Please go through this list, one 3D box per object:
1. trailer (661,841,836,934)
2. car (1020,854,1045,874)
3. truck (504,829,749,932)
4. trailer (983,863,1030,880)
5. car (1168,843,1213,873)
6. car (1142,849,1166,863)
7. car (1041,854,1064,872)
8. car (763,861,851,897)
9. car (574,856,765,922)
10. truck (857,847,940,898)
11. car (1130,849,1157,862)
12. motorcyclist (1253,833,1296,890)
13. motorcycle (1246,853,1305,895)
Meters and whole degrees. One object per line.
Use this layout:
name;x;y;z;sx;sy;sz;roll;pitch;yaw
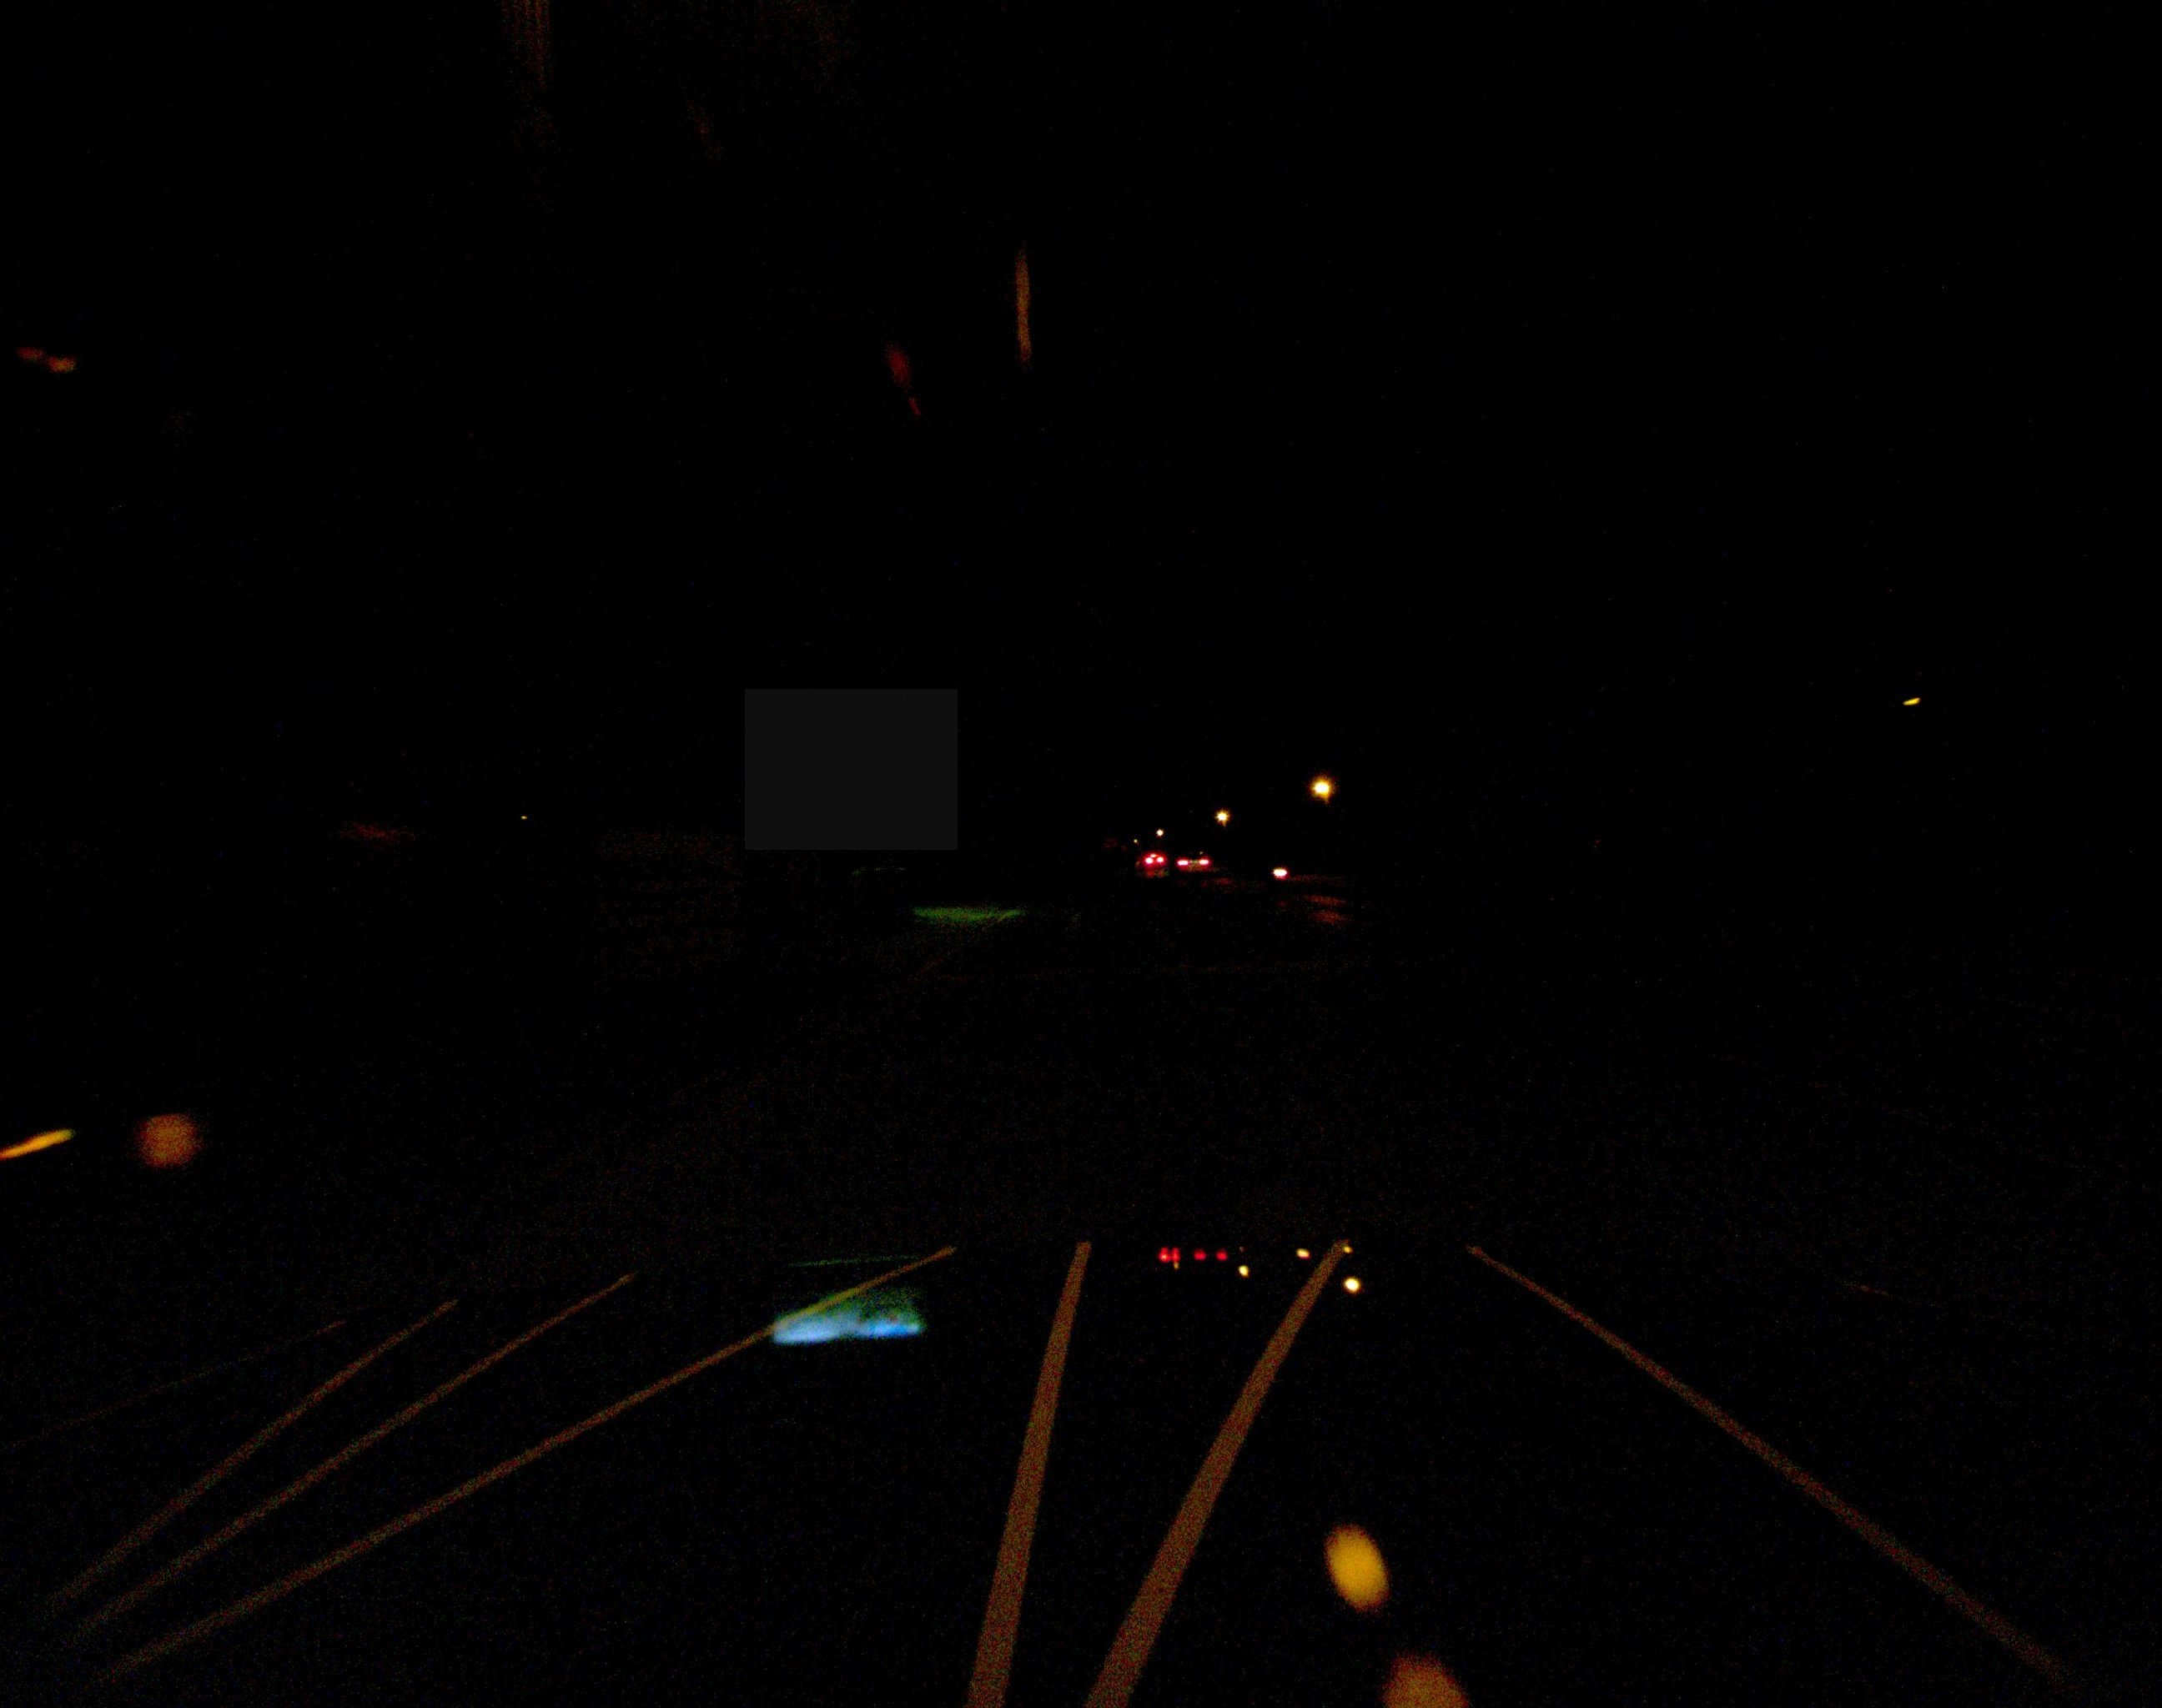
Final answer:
trailer;-7.788;0.769;17.789;3.750;2.002;1.617;-2;0;25
car;-4.217;0.837;65.638;1.940;1.543;3.998;-3;0;-4
truck;-13.153;0.731;22.325;5.544;2.584;2.472;-3;1;0
trailer;-5.465;1.242;57.152;2.179;0.961;9.617;-4;0;2
car;6.598;0.230;46.316;1.998;1.617;4.752;-3;0;0
car;7.924;0.223;82.741;1.854;1.436;4.915;-3;0;-3
car;-2.774;0.878;72.925;1.999;1.543;4.325;-3;0;-4
car;-14.250;1.291;39.688;3.866;1.595;1.708;-3;1;-1
car;-13.324;1.099;24.789;5.085;1.825;1.989;-3;1;3
truck;-9.303;0.856;39.619;2.383;2.270;7.743;-3;0;0
car;7.247;0.164;88.594;2.000;1.371;4.595;-3;0;-8
motorcyclist;6.603;0.248;25.996;1.137;1.889;0.833;-3;1;-6
motorcycle;6.629;0.645;26.059;1.000;1.297;2.825;-3;0;-5
